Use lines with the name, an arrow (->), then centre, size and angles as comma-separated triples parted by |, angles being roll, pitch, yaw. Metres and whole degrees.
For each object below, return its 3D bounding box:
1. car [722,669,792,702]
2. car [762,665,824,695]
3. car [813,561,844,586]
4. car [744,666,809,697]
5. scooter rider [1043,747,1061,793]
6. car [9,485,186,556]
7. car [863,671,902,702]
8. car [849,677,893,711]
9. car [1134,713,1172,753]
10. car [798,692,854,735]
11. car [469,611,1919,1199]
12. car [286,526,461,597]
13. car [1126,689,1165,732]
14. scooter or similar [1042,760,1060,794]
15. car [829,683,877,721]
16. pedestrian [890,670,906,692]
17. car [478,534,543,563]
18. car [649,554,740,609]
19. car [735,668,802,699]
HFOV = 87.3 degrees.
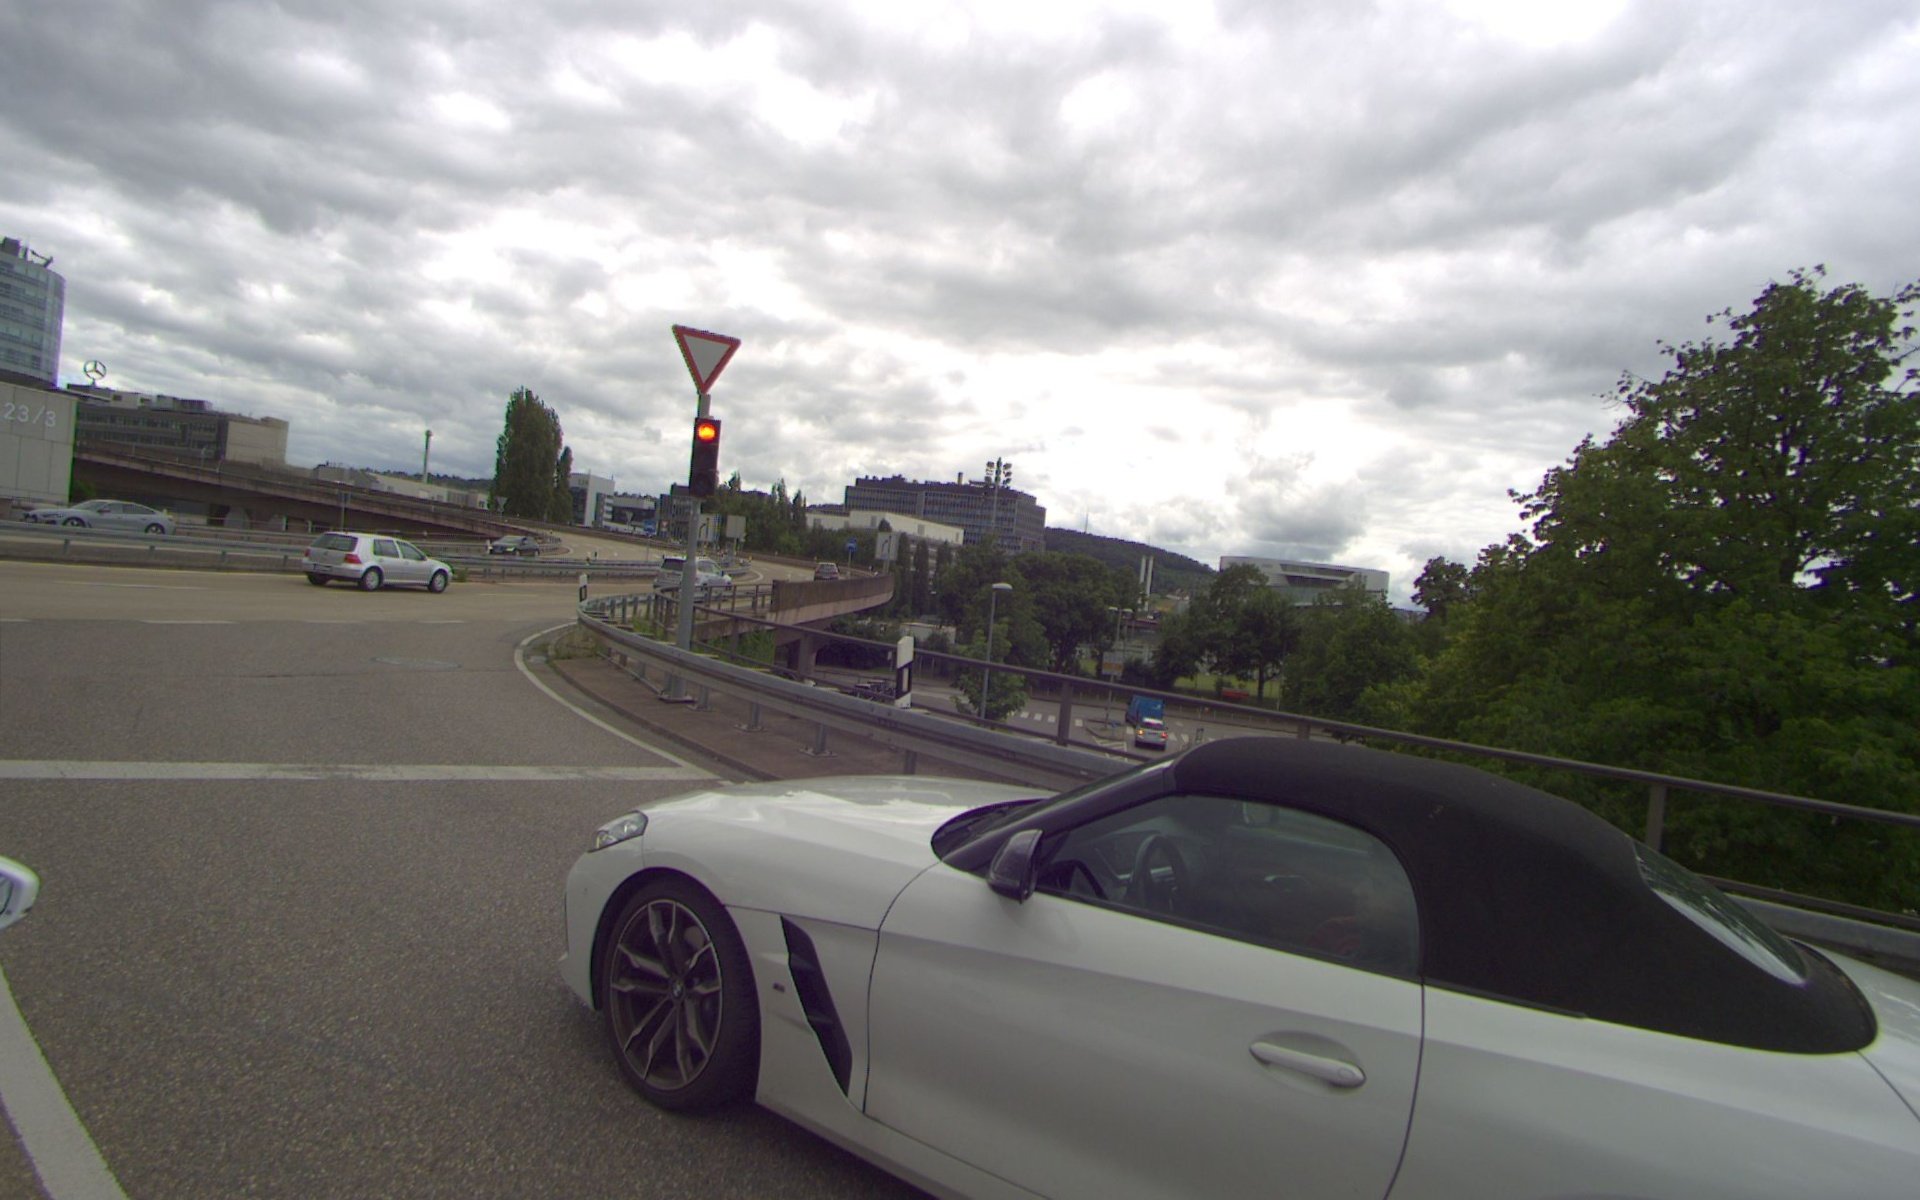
car -> -12.455, 5.266, 61.884 | 3.792, 1.371, 1.826 | 8, 1, 1
car -> -11.462, 5.487, 69.123 | 3.792, 1.371, 1.826 | 8, 1, 1
car -> -9.390, -1.877, 71.585 | 1.701, 1.480, 4.234 | 6, 0, -12
car -> -12.061, 5.371, 66.343 | 3.792, 1.371, 1.826 | 8, 1, 1
scooter rider -> 3.759, 6.941, 41.131 | 0.481, 1.761, 0.514 | 8, 2, 10
car -> -33.040, -2.983, 38.759 | 1.879, 1.679, 4.757 | 8, -4, 17
car -> -5.267, 5.857, 68.626 | 1.792, 1.553, 4.000 | 8, 0, 6
car -> -5.523, 5.831, 63.027 | 1.792, 1.553, 4.195 | 8, 0, 6
car -> 12.189, 8.349, 63.703 | 1.978, 1.883, 4.868 | 10, -2, 10
car -> -6.791, 5.752, 51.432 | 1.792, 1.553, 4.000 | 8, 0, 6
car -> 0.635, 0.986, 3.005 | 4.194, 1.306, 1.808 | 7, -2, 34
car -> -15.513, -0.964, 26.870 | 1.697, 1.417, 4.069 | 7, 0, 10
car -> 13.841, 8.210, 75.407 | 1.979, 2.617, 5.397 | 10, -2, 5
scooter or similar -> 3.723, 7.227, 41.130 | 0.481, 1.199, 1.073 | 8, 1, 10
car -> -6.072, 5.796, 57.503 | 1.792, 1.553, 4.000 | 8, 0, 6
pedestrian -> -4.659, 6.059, 75.498 | 0.898, 1.514, 0.750 | 8, -3, 8
car -> -28.450, -3.243, 63.862 | 1.879, 1.439, 3.993 | 9, 1, 6
car -> -10.267, -0.674, 39.244 | 1.697, 1.758, 4.558 | 7, 0, 7
car -> -12.177, 5.314, 64.224 | 3.792, 1.371, 1.826 | 8, 1, 1
